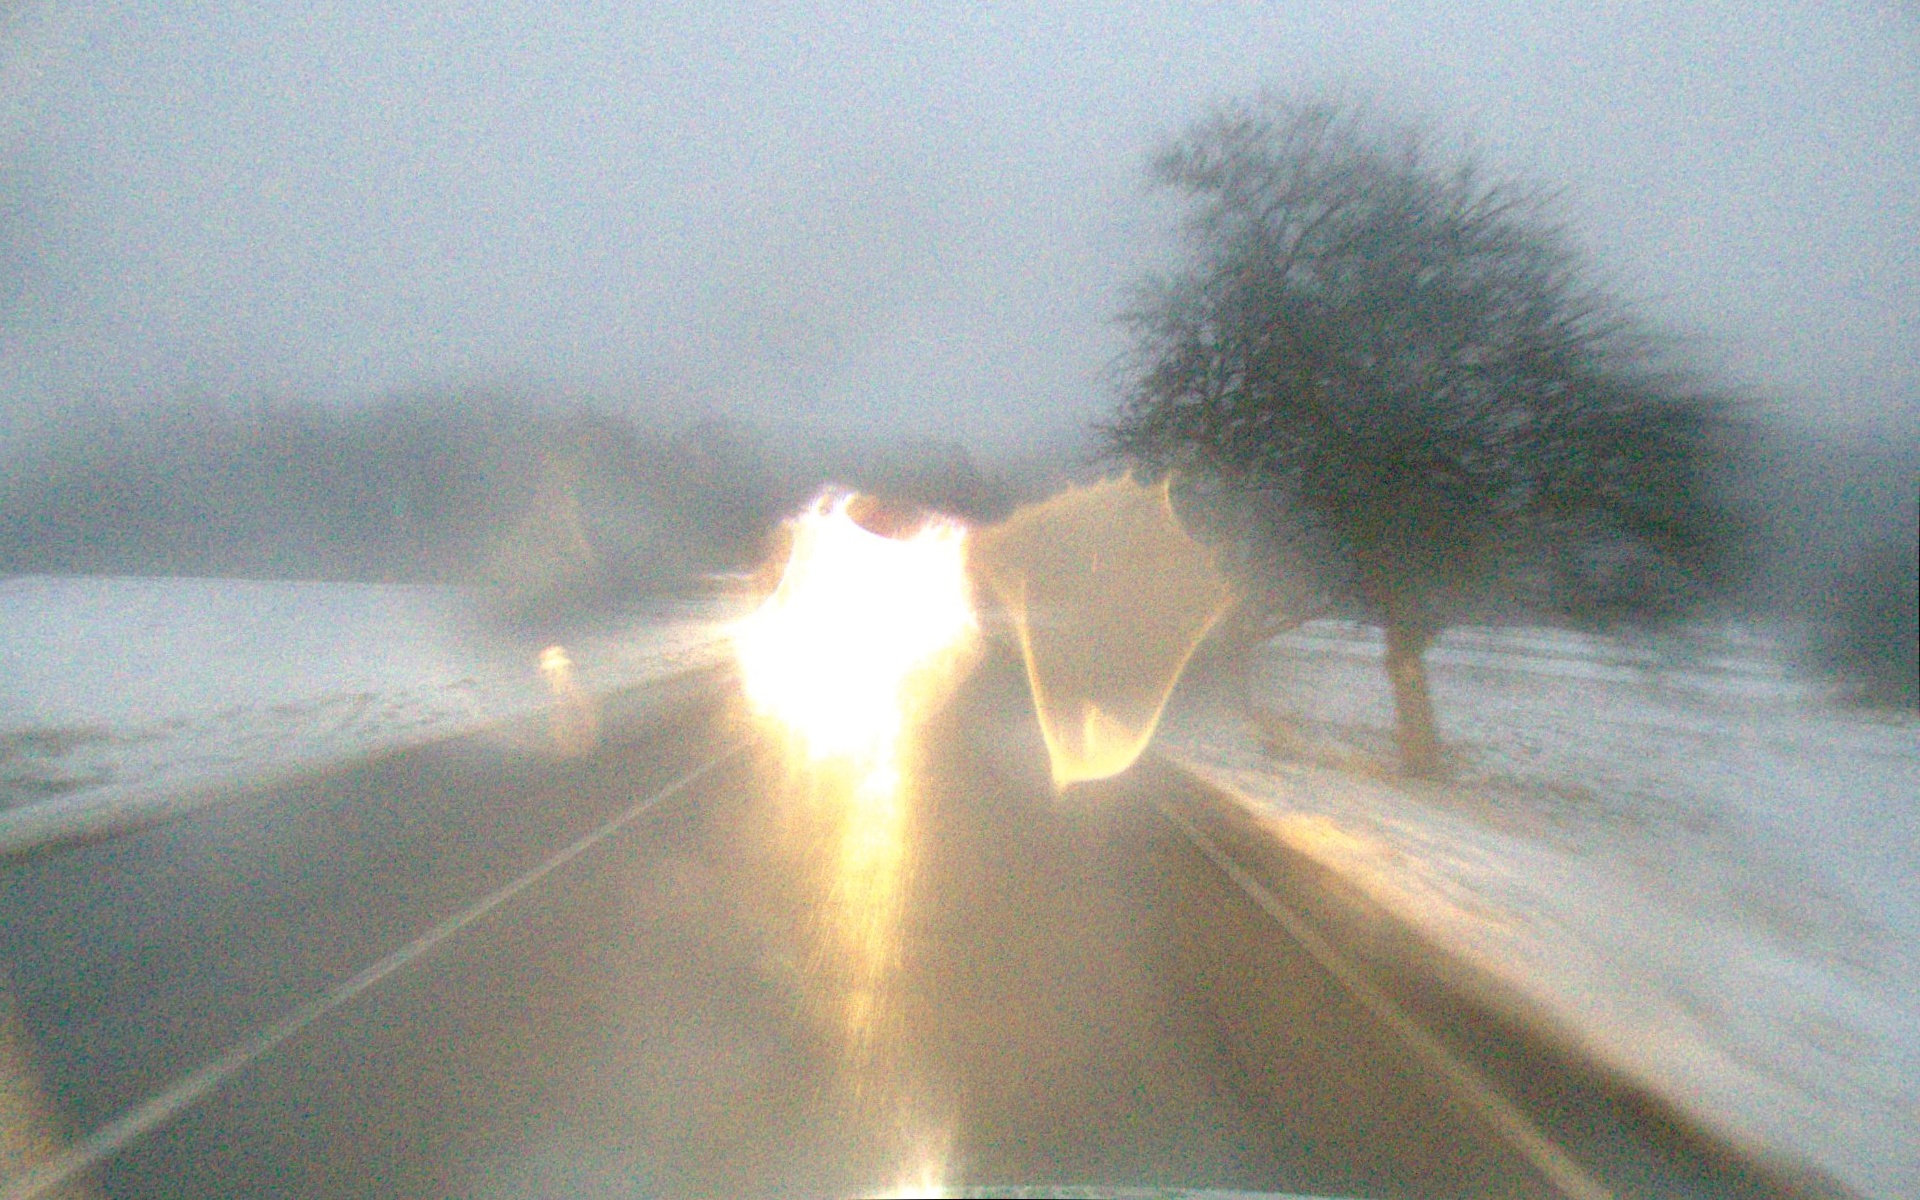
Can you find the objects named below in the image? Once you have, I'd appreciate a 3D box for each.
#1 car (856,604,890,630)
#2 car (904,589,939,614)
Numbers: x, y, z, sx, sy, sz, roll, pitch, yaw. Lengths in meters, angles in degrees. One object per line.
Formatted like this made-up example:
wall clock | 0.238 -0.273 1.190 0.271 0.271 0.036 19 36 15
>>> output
car | -4.827 0.915 92.023 1.692 1.370 4.221 -1 0 -1
car | -3.483 0.178 150.017 1.952 2.087 4.003 4 1 15
